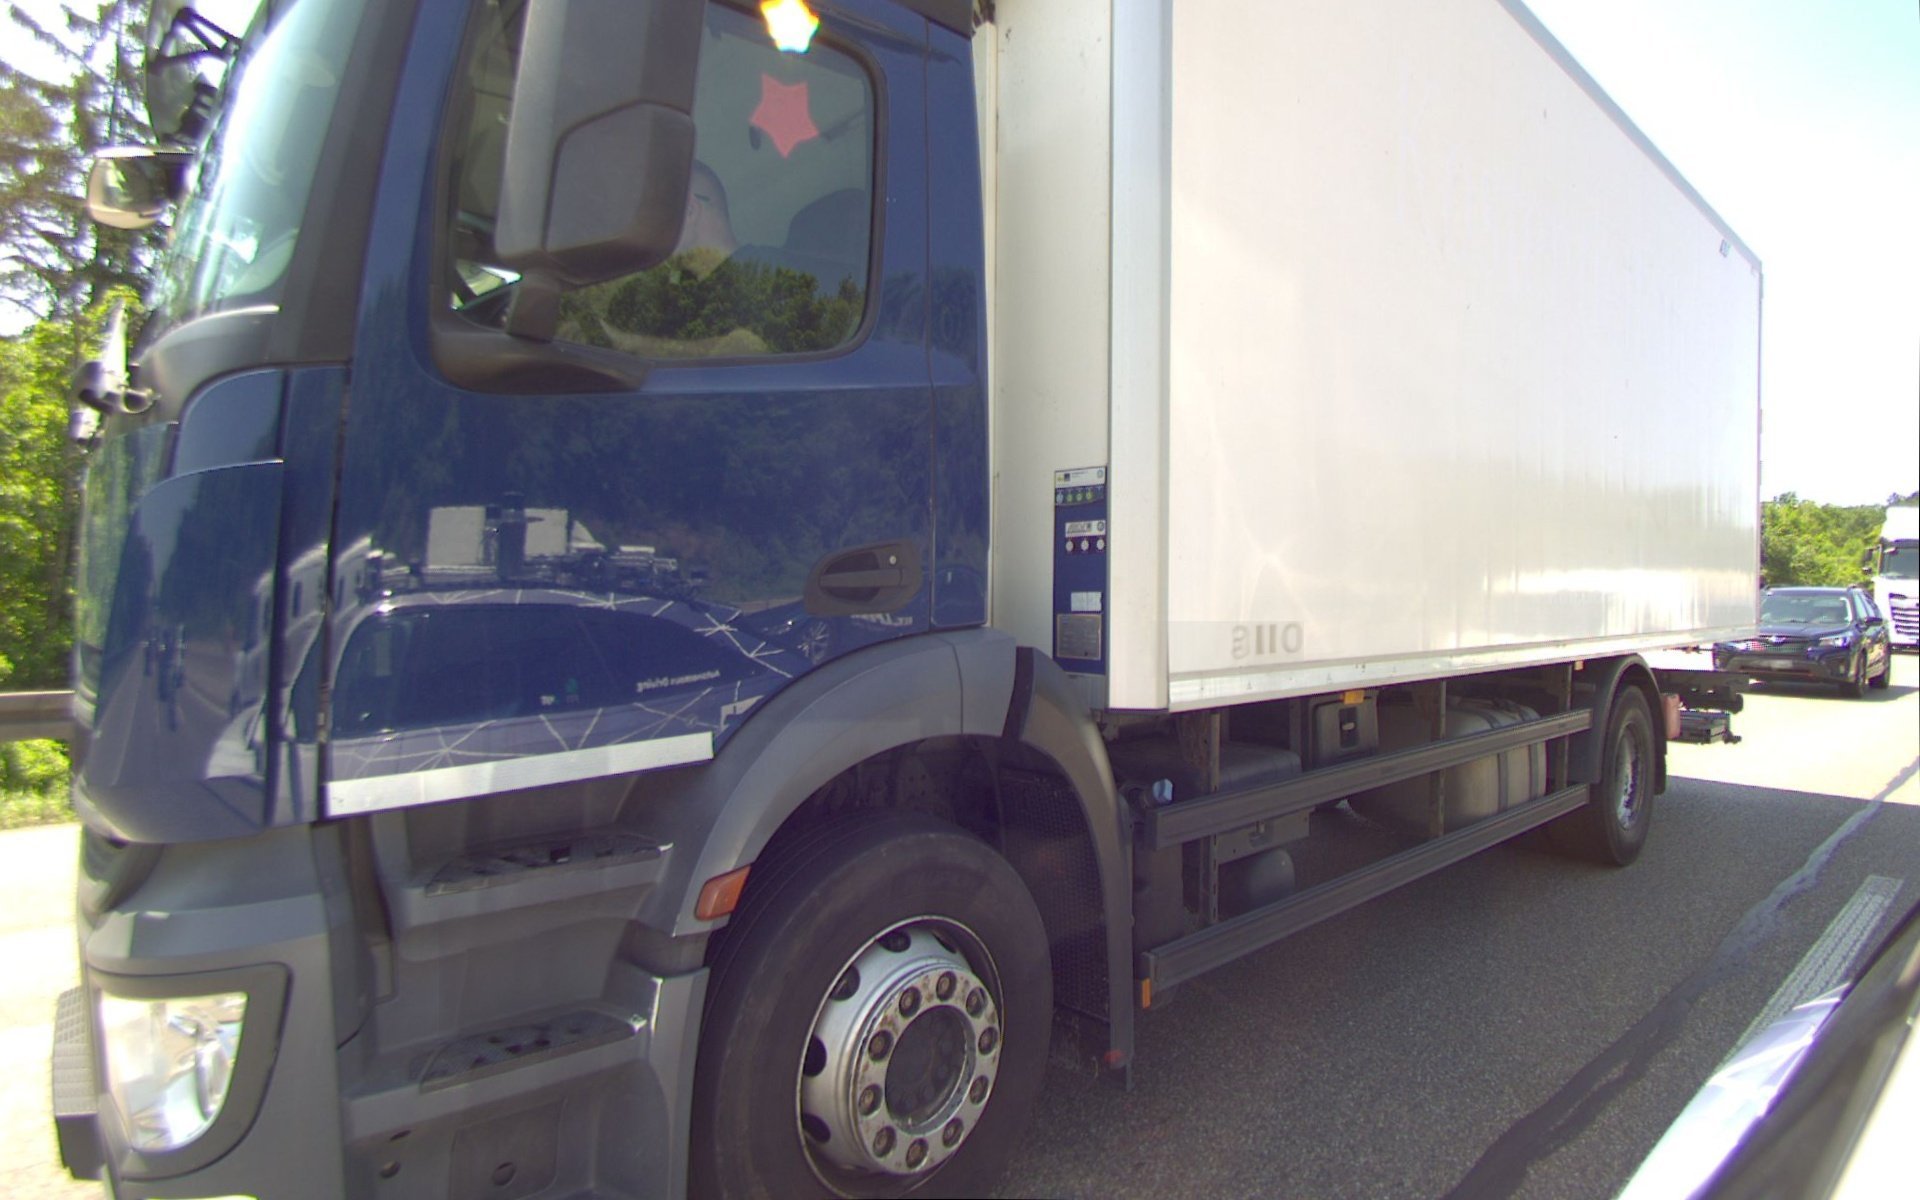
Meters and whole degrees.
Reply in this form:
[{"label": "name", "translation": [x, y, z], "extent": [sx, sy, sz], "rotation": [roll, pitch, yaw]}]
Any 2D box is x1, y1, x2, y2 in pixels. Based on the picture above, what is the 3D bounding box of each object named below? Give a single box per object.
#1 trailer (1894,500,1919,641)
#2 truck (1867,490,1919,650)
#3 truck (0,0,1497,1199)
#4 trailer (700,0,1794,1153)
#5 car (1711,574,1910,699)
[{"label": "trailer", "translation": [33.108, -0.929, 32.868], "extent": [11.416, 4.133, 2.765], "rotation": [-1, 3, -41]}, {"label": "truck", "translation": [27.740, -0.843, 28.209], "extent": [7.206, 4.135, 2.765], "rotation": [-1, 1, -41]}, {"label": "truck", "translation": [-0.371, -0.091, 3.372], "extent": [4.034, 2.977, 2.560], "rotation": [-1, 2, -42]}, {"label": "trailer", "translation": [2.594, -0.156, 6.019], "extent": [7.747, 2.935, 2.559], "rotation": [0, 1, -42]}, {"label": "car", "translation": [14.045, 0.460, 16.615], "extent": [4.535, 1.713, 1.996], "rotation": [-1, 3, -44]}]
